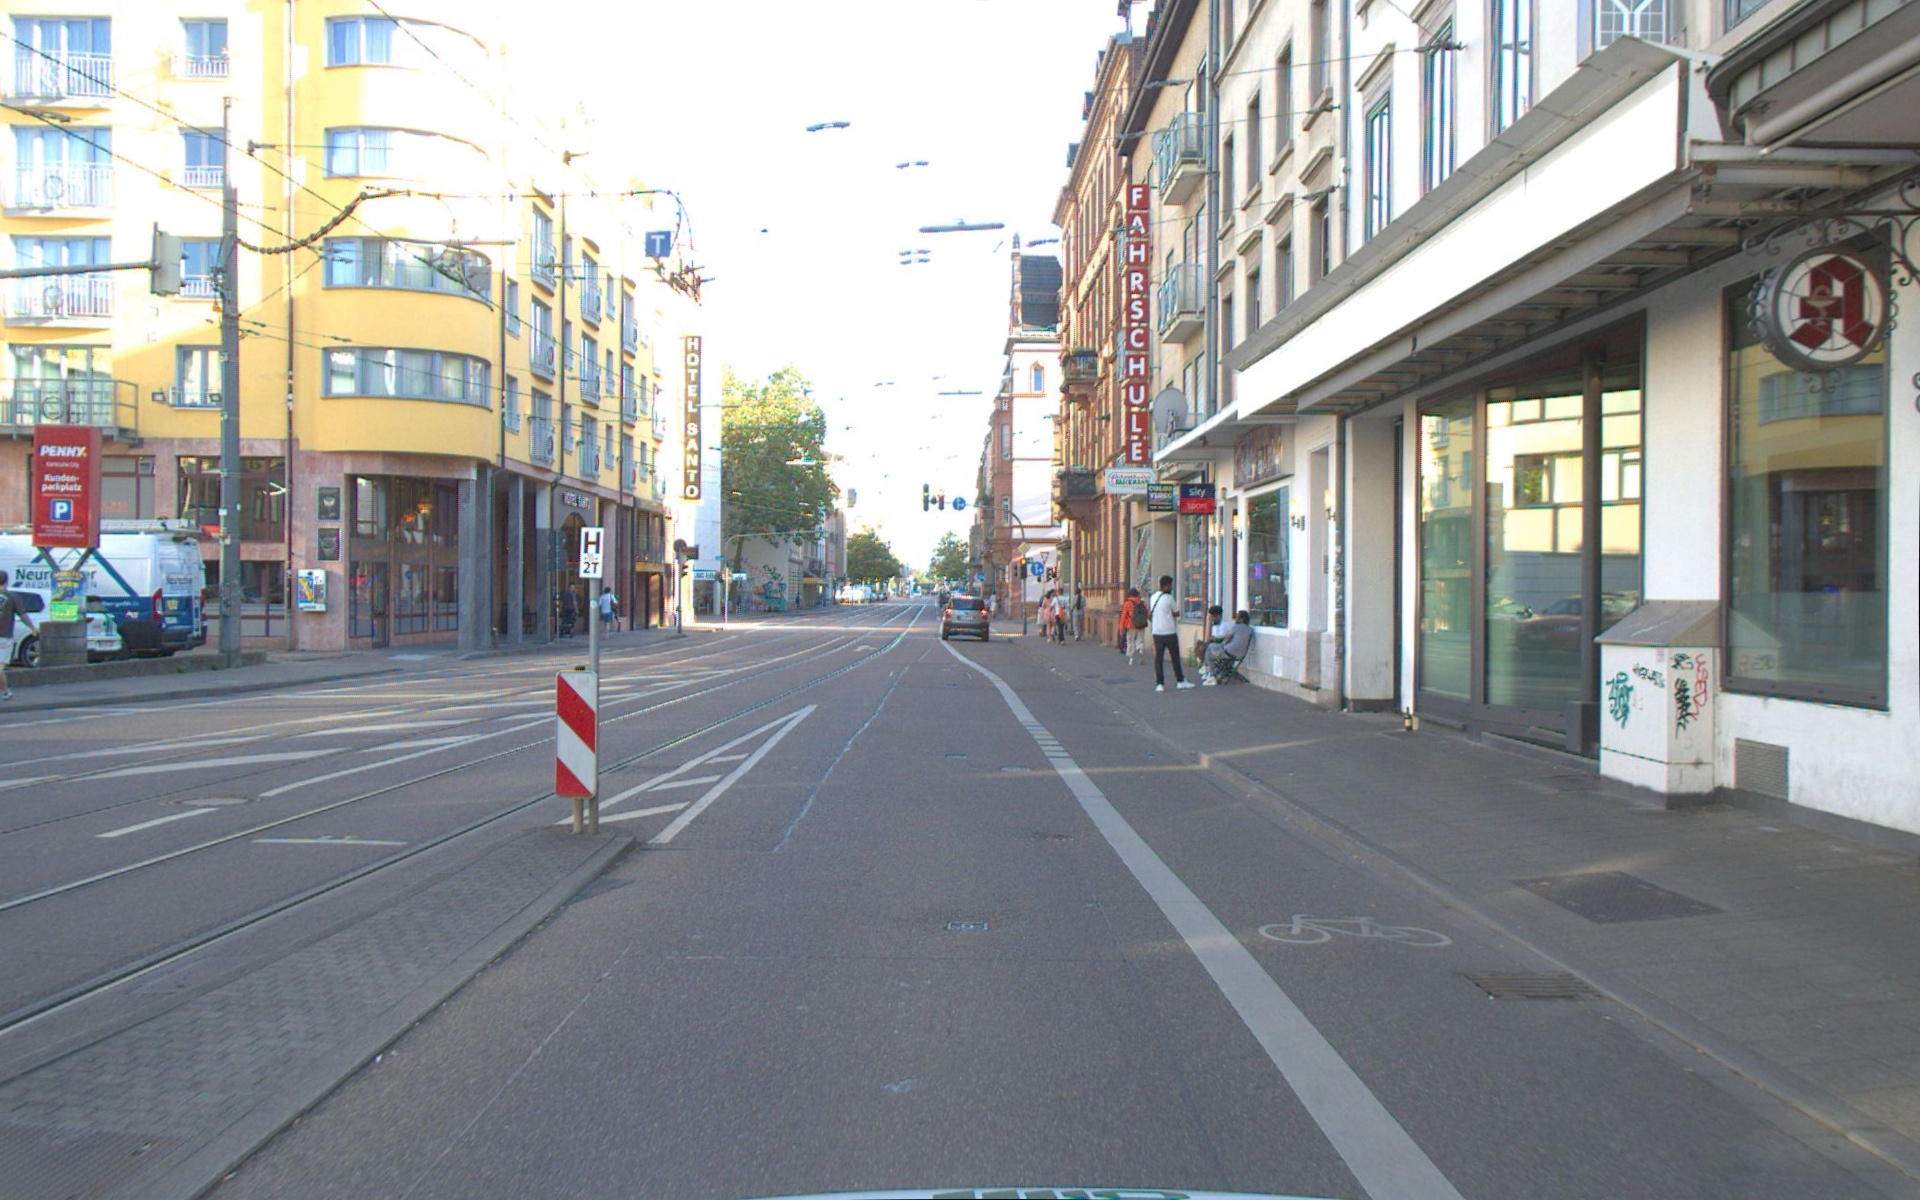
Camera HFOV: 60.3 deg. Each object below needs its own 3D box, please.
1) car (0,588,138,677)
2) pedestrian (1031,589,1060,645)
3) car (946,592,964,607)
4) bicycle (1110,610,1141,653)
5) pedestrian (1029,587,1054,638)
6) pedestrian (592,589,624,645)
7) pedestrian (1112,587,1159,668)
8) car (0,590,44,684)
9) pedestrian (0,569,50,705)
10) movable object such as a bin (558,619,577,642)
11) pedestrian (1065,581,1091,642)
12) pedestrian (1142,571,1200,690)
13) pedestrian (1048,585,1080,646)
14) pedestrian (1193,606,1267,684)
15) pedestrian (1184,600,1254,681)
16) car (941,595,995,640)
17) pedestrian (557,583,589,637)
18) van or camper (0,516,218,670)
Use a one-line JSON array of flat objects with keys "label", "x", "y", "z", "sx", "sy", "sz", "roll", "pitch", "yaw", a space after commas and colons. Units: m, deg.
[{"label": "car", "x": -17.295, "y": 0.555, "z": 29.318, "sx": 4.494, "sy": 1.501, "sz": 1.879, "roll": 0, "pitch": 1, "yaw": 0}, {"label": "pedestrian", "x": 2.863, "y": 0.567, "z": 55.456, "sx": 0.789, "sy": 1.831, "sz": 0.761, "roll": -4, "pitch": 1, "yaw": -2}, {"label": "car", "x": -0.529, "y": -0.071, "z": 185.449, "sx": 1.910, "sy": 1.713, "sz": 4.000, "roll": 0, "pitch": 0, "yaw": 0}, {"label": "bicycle", "x": 4.345, "y": 0.814, "z": 43.646, "sx": 0.543, "sy": 1.079, "sz": 2.311, "roll": -2, "pitch": 0, "yaw": 0}, {"label": "pedestrian", "x": 3.043, "y": 0.465, "z": 61.767, "sx": 0.789, "sy": 1.831, "sz": 0.761, "roll": -4, "pitch": 1, "yaw": -1}, {"label": "pedestrian", "x": -12.191, "y": 0.589, "z": 57.311, "sx": 0.736, "sy": 1.850, "sz": 1.046, "roll": 5, "pitch": 0, "yaw": -1}, {"label": "pedestrian", "x": 3.793, "y": 0.587, "z": 35.804, "sx": 0.782, "sy": 1.655, "sz": 0.825, "roll": -5, "pitch": 1, "yaw": -1}, {"label": "car", "x": -17.732, "y": 0.608, "z": 26.998, "sx": 4.494, "sy": 1.501, "sz": 1.879, "roll": 0, "pitch": 1, "yaw": 0}, {"label": "pedestrian", "x": -13.329, "y": 0.499, "z": 23.021, "sx": 0.816, "sy": 1.864, "sz": 0.909, "roll": 0, "pitch": 1, "yaw": -1}, {"label": "movable object such as a bin", "x": -13.363, "y": 1.023, "z": 56.316, "sx": 0.375, "sy": 0.728, "sz": 0.841, "roll": 5, "pitch": 1, "yaw": 0}, {"label": "pedestrian", "x": 3.893, "y": 0.380, "z": 54.567, "sx": 0.677, "sy": 1.941, "sz": 0.670, "roll": -4, "pitch": 1, "yaw": -2}, {"label": "pedestrian", "x": 3.435, "y": 0.493, "z": 26.897, "sx": 0.690, "sy": 1.843, "sz": 0.680, "roll": -5, "pitch": 1, "yaw": 15}, {"label": "pedestrian", "x": 3.220, "y": 0.468, "z": 51.359, "sx": 0.789, "sy": 1.831, "sz": 1.091, "roll": -4, "pitch": 1, "yaw": -2}, {"label": "pedestrian", "x": 4.413, "y": 0.729, "z": 27.066, "sx": 0.695, "sy": 1.194, "sz": 1.010, "roll": -6, "pitch": 1, "yaw": -20}, {"label": "pedestrian", "x": 4.411, "y": 0.691, "z": 28.165, "sx": 0.822, "sy": 1.277, "sz": 0.698, "roll": -6, "pitch": 1, "yaw": -36}, {"label": "car", "x": 0.269, "y": 0.621, "z": 62.681, "sx": 1.953, "sy": 1.646, "sz": 3.999, "roll": 0, "pitch": 0, "yaw": -1}, {"label": "pedestrian", "x": -13.364, "y": 0.330, "z": 57.139, "sx": 0.782, "sy": 1.801, "sz": 0.749, "roll": 5, "pitch": 0, "yaw": -1}, {"label": "van or camper", "x": -17.671, "y": -0.150, "z": 32.070, "sx": 5.491, "sy": 2.876, "sz": 2.315, "roll": 0, "pitch": 1, "yaw": 0}]
